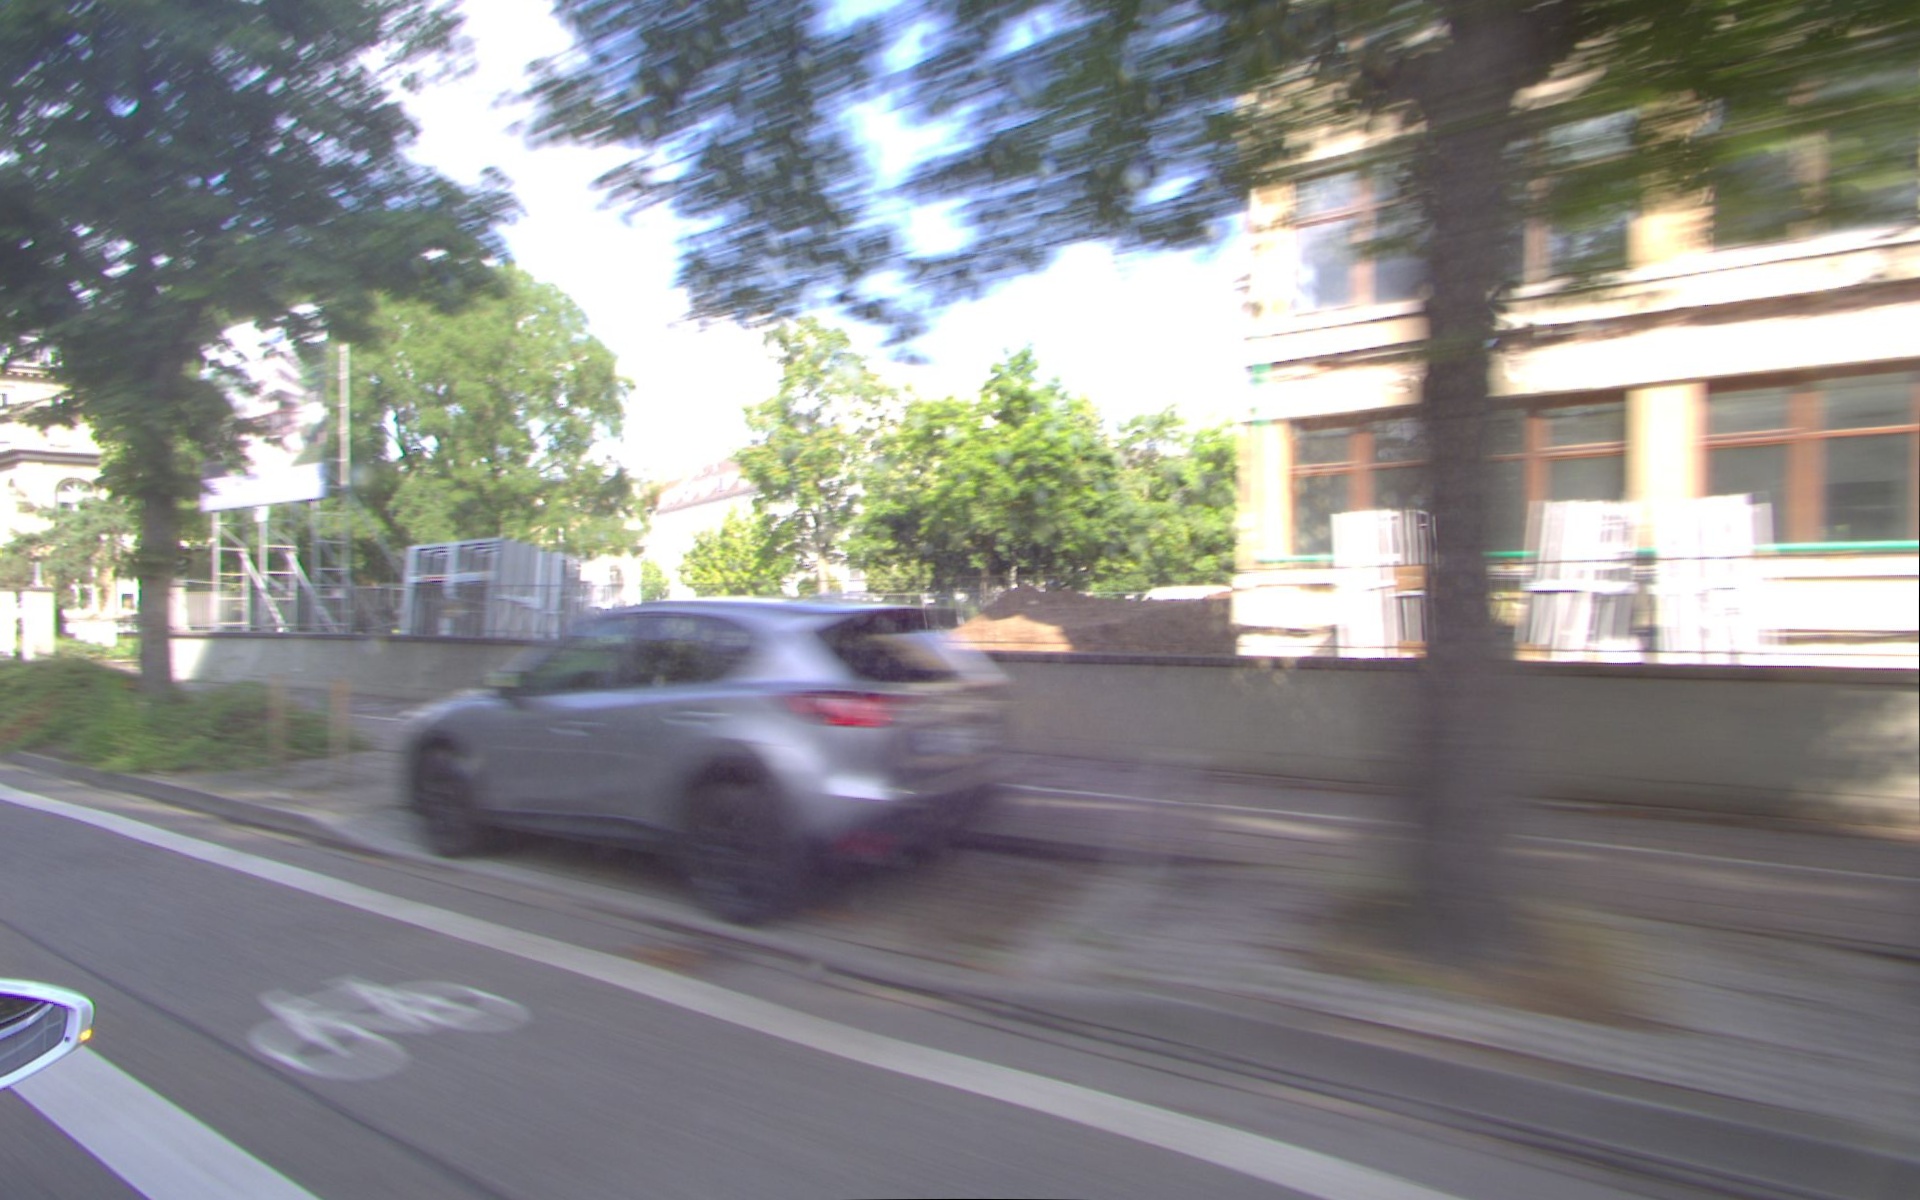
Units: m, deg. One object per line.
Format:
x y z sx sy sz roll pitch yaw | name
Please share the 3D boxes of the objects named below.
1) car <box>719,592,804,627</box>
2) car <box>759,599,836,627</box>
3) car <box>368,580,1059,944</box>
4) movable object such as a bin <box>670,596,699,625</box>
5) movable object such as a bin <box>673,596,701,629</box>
-12.629 0.617 63.620 4.881 1.988 1.993 -1 -3 -29 | car
-9.128 0.725 56.250 3.860 1.438 1.750 -2 -1 -31 | car
-1.722 0.733 6.406 4.394 1.628 1.761 0 0 32 | car
-13.142 0.519 47.722 0.935 1.366 1.225 1 -2 -36 | movable object such as a bin
-12.442 0.574 45.625 0.869 1.470 1.225 1 -2 -36 | movable object such as a bin
